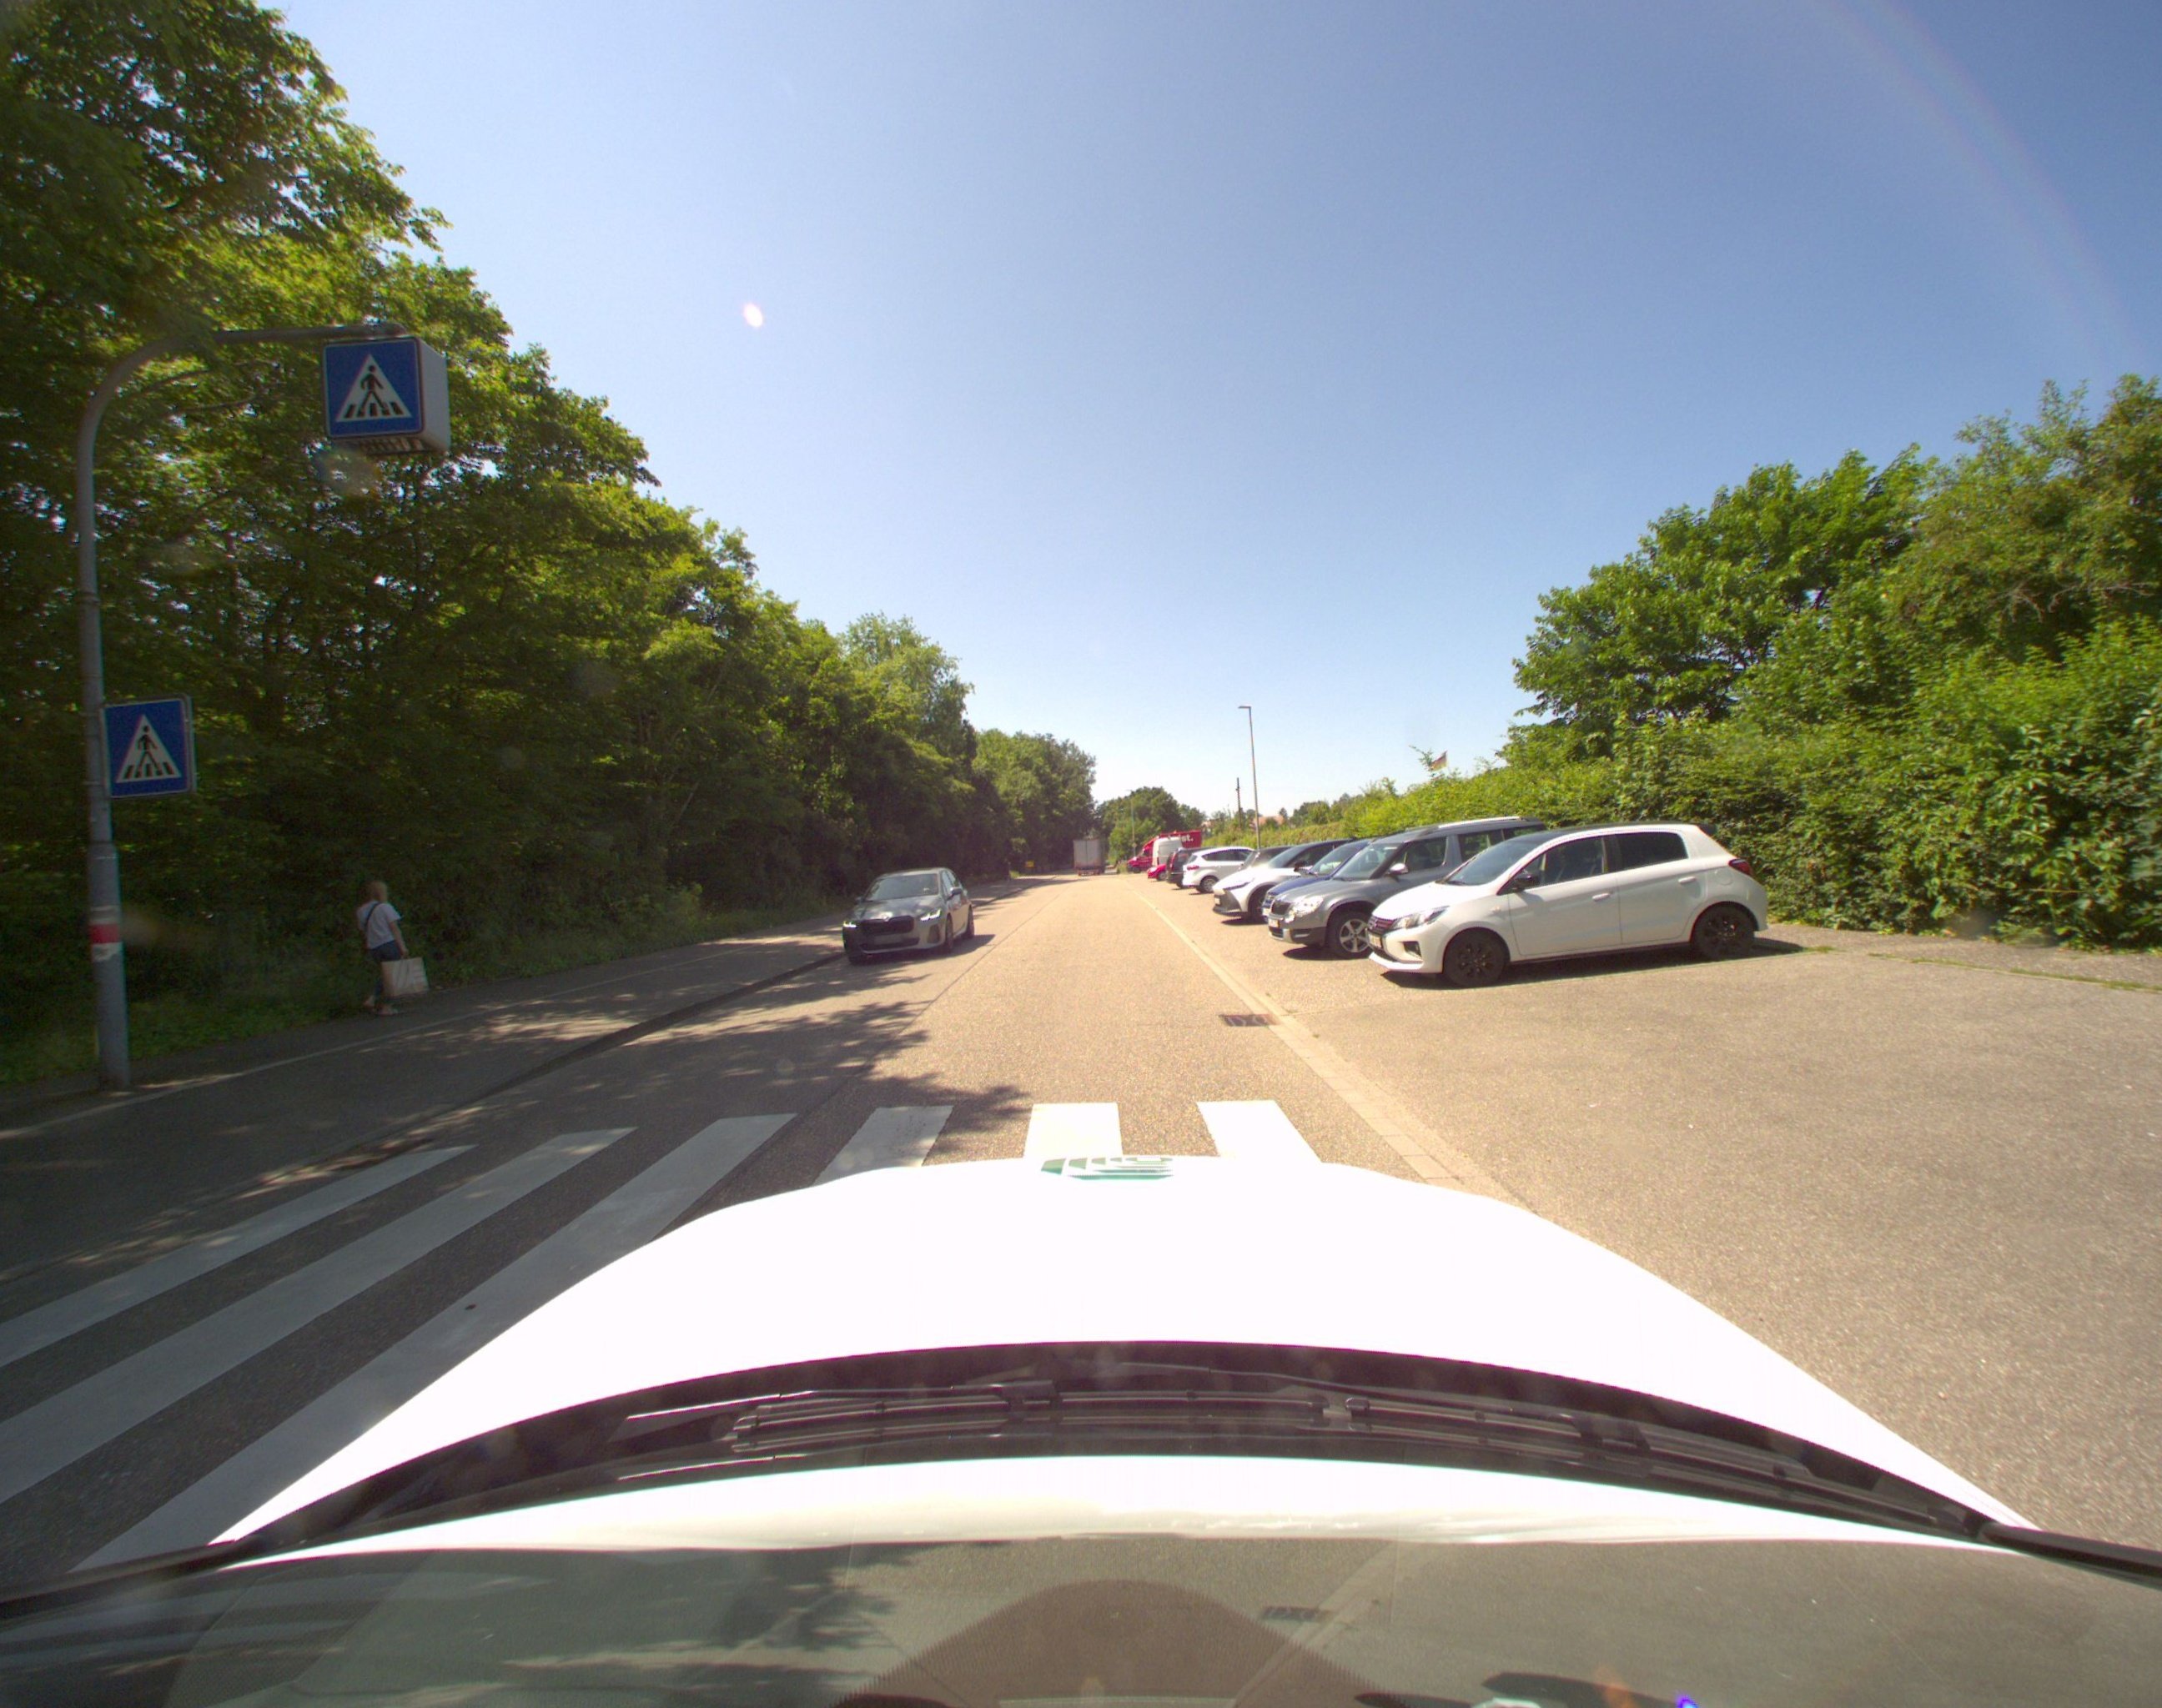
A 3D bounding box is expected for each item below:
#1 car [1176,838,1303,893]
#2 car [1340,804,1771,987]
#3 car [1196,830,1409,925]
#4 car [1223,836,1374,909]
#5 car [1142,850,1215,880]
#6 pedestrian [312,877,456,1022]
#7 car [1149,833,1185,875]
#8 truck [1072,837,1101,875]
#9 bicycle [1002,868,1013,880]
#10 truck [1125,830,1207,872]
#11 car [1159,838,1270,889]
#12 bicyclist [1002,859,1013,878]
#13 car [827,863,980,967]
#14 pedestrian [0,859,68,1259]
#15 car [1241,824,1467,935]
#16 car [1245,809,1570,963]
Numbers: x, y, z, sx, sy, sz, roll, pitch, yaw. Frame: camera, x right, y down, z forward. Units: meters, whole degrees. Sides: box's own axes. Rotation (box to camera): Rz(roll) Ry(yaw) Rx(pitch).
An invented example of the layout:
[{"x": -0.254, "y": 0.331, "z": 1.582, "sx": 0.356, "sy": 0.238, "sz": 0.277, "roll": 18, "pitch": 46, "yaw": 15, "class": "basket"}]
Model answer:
[{"x": 5.791, "y": 0.419, "z": 30.091, "sx": 4.264, "sy": 1.578, "sz": 1.764, "roll": -5, "pitch": -1, "yaw": -2, "class": "car"}, {"x": 4.987, "y": 0.427, "z": 8.982, "sx": 3.673, "sy": 1.450, "sz": 1.612, "roll": -6, "pitch": 0, "yaw": 4, "class": "car"}, {"x": 4.705, "y": 0.489, "z": 17.643, "sx": 3.957, "sy": 1.523, "sz": 1.861, "roll": -6, "pitch": 0, "yaw": -5, "class": "car"}, {"x": 5.424, "y": 0.459, "z": 20.638, "sx": 3.373, "sy": 1.504, "sz": 1.589, "roll": -5, "pitch": 0, "yaw": 4, "class": "car"}, {"x": 5.849, "y": 0.673, "z": 49.163, "sx": 4.044, "sy": 1.434, "sz": 1.834, "roll": -5, "pitch": 0, "yaw": -2, "class": "car"}, {"x": -8.367, "y": 1.113, "z": 9.823, "sx": 0.929, "sy": 1.612, "sz": 0.885, "roll": -2, "pitch": -1, "yaw": -1, "class": "pedestrian"}, {"x": 6.237, "y": -0.019, "z": 59.736, "sx": 1.947, "sy": 2.733, "sz": 7.170, "roll": -5, "pitch": 0, "yaw": 2, "class": "car"}, {"x": 0.684, "y": 0.287, "z": 89.007, "sx": 2.723, "sy": 3.746, "sz": 13.250, "roll": -2, "pitch": -1, "yaw": 2, "class": "truck"}, {"x": -6.229, "y": 1.692, "z": 69.368, "sx": 0.558, "sy": 1.027, "sz": 1.841, "roll": -3, "pitch": -1, "yaw": 5, "class": "bicycle"}, {"x": 7.760, "y": -0.294, "z": 73.788, "sx": 7.094, "sy": 3.440, "sz": 2.336, "roll": -3, "pitch": 0, "yaw": 9, "class": "truck"}, {"x": 5.884, "y": 0.415, "z": 36.329, "sx": 4.444, "sy": 1.805, "sz": 1.950, "roll": -5, "pitch": -1, "yaw": -4, "class": "car"}, {"x": -6.259, "y": 1.248, "z": 69.347, "sx": 0.645, "sy": 1.565, "sz": 0.838, "roll": -3, "pitch": -1, "yaw": 5, "class": "bicyclist"}, {"x": -3.233, "y": 1.035, "z": 15.714, "sx": 1.885, "sy": 1.532, "sz": 4.195, "roll": -7, "pitch": -1, "yaw": 0, "class": "car"}, {"x": -5.565, "y": 0.957, "z": 3.608, "sx": 1.082, "sy": 1.864, "sz": 0.782, "roll": 0, "pitch": 0, "yaw": -7, "class": "pedestrian"}, {"x": 4.869, "y": 0.441, "z": 14.775, "sx": 3.447, "sy": 1.527, "sz": 1.537, "roll": -6, "pitch": 0, "yaw": -5, "class": "car"}, {"x": 4.620, "y": 0.425, "z": 11.847, "sx": 3.954, "sy": 1.640, "sz": 1.661, "roll": -6, "pitch": 0, "yaw": -5, "class": "car"}]
